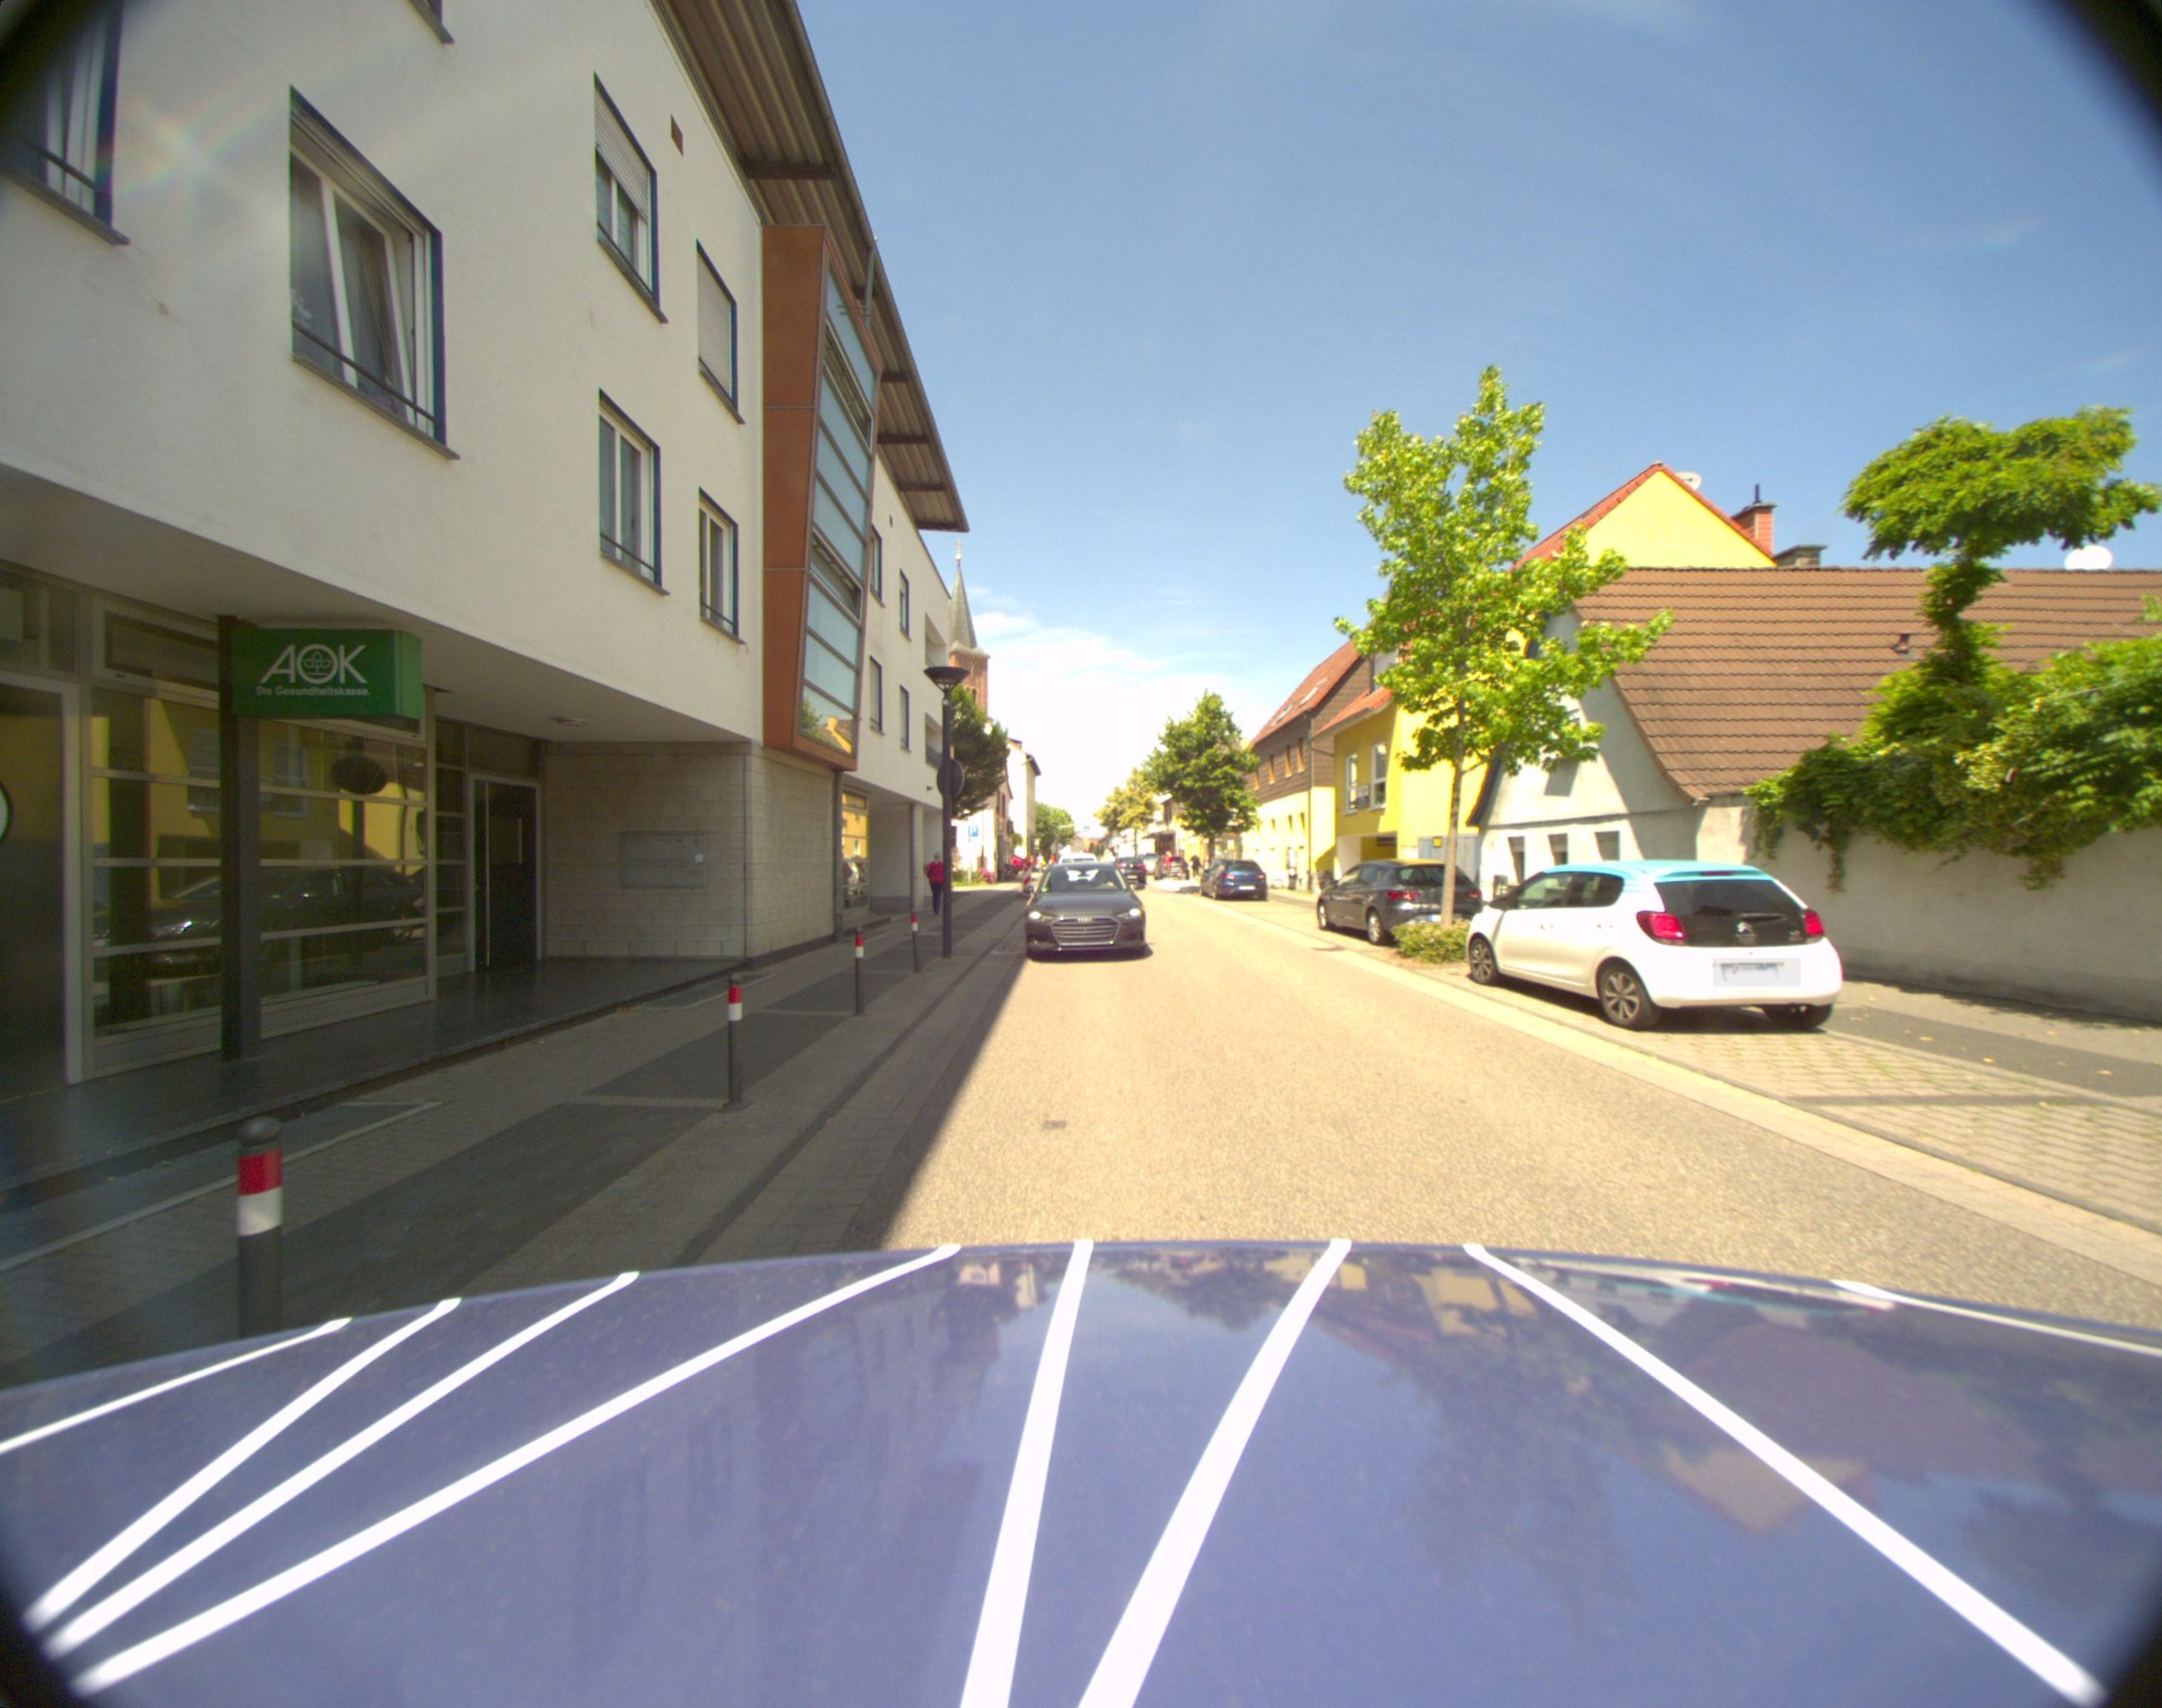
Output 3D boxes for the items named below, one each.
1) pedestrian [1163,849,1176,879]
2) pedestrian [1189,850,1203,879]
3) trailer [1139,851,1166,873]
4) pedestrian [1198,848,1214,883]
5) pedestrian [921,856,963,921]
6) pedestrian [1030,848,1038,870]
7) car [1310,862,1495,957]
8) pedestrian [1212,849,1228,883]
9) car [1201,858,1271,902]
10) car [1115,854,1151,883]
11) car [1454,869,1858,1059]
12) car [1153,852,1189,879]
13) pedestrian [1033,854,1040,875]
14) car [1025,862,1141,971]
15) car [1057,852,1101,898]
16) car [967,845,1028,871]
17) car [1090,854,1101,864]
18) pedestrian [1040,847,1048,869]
[{"bbox_3d":[4.924,0.570,42.418,0.643,1.645,0.624,0,1,0],"label":"pedestrian"},{"bbox_3d":[6.333,0.569,41.865,0.663,1.592,0.771,0,1,0],"label":"pedestrian"},{"bbox_3d":[5.500,0.613,58.772,1.493,1.571,3.882,-3,0,-2],"label":"trailer"},{"bbox_3d":[5.735,0.523,34.892,0.631,1.592,0.528,0,1,0],"label":"pedestrian"},{"bbox_3d":[-3.534,0.863,19.363,0.826,1.579,0.919,2,1,0],"label":"pedestrian"},{"bbox_3d":[-3.972,0.395,64.172,0.581,1.875,0.695,0,1,2],"label":"pedestrian"},{"bbox_3d":[5.660,0.889,13.969,1.649,1.422,4.098,1,0,0],"label":"car"},{"bbox_3d":[6.505,0.547,35.617,0.631,1.592,0.528,0,1,0],"label":"pedestrian"},{"bbox_3d":[5.382,0.859,26.900,1.660,1.399,4.157,0,0,0],"label":"car"},{"bbox_3d":[2.816,0.751,41.709,1.693,1.464,3.999,0,0,0],"label":"car"},{"bbox_3d":[5.427,0.910,7.764,1.557,1.422,3.409,-1,0,0],"label":"car"},{"bbox_3d":[5.437,0.671,46.331,1.753,1.566,4.157,-1,0,0],"label":"car"},{"bbox_3d":[-3.920,0.931,66.720,0.581,1.875,0.695,0,1,2],"label":"pedestrian"},{"bbox_3d":[0.023,0.907,12.702,1.581,1.424,4.064,-2,0,0],"label":"car"},{"bbox_3d":[-0.074,0.753,29.230,1.581,1.620,4.064,0,0,0],"label":"car"},{"bbox_3d":[-6.057,0.299,55.295,4.204,1.849,2.000,0,0,-1],"label":"car"},{"bbox_3d":[2.823,0.905,146.819,1.695,1.761,3.999,-4,0,-2],"label":"car"},{"bbox_3d":[-3.176,0.380,65.299,0.581,1.875,0.695,0,1,2],"label":"pedestrian"}]
